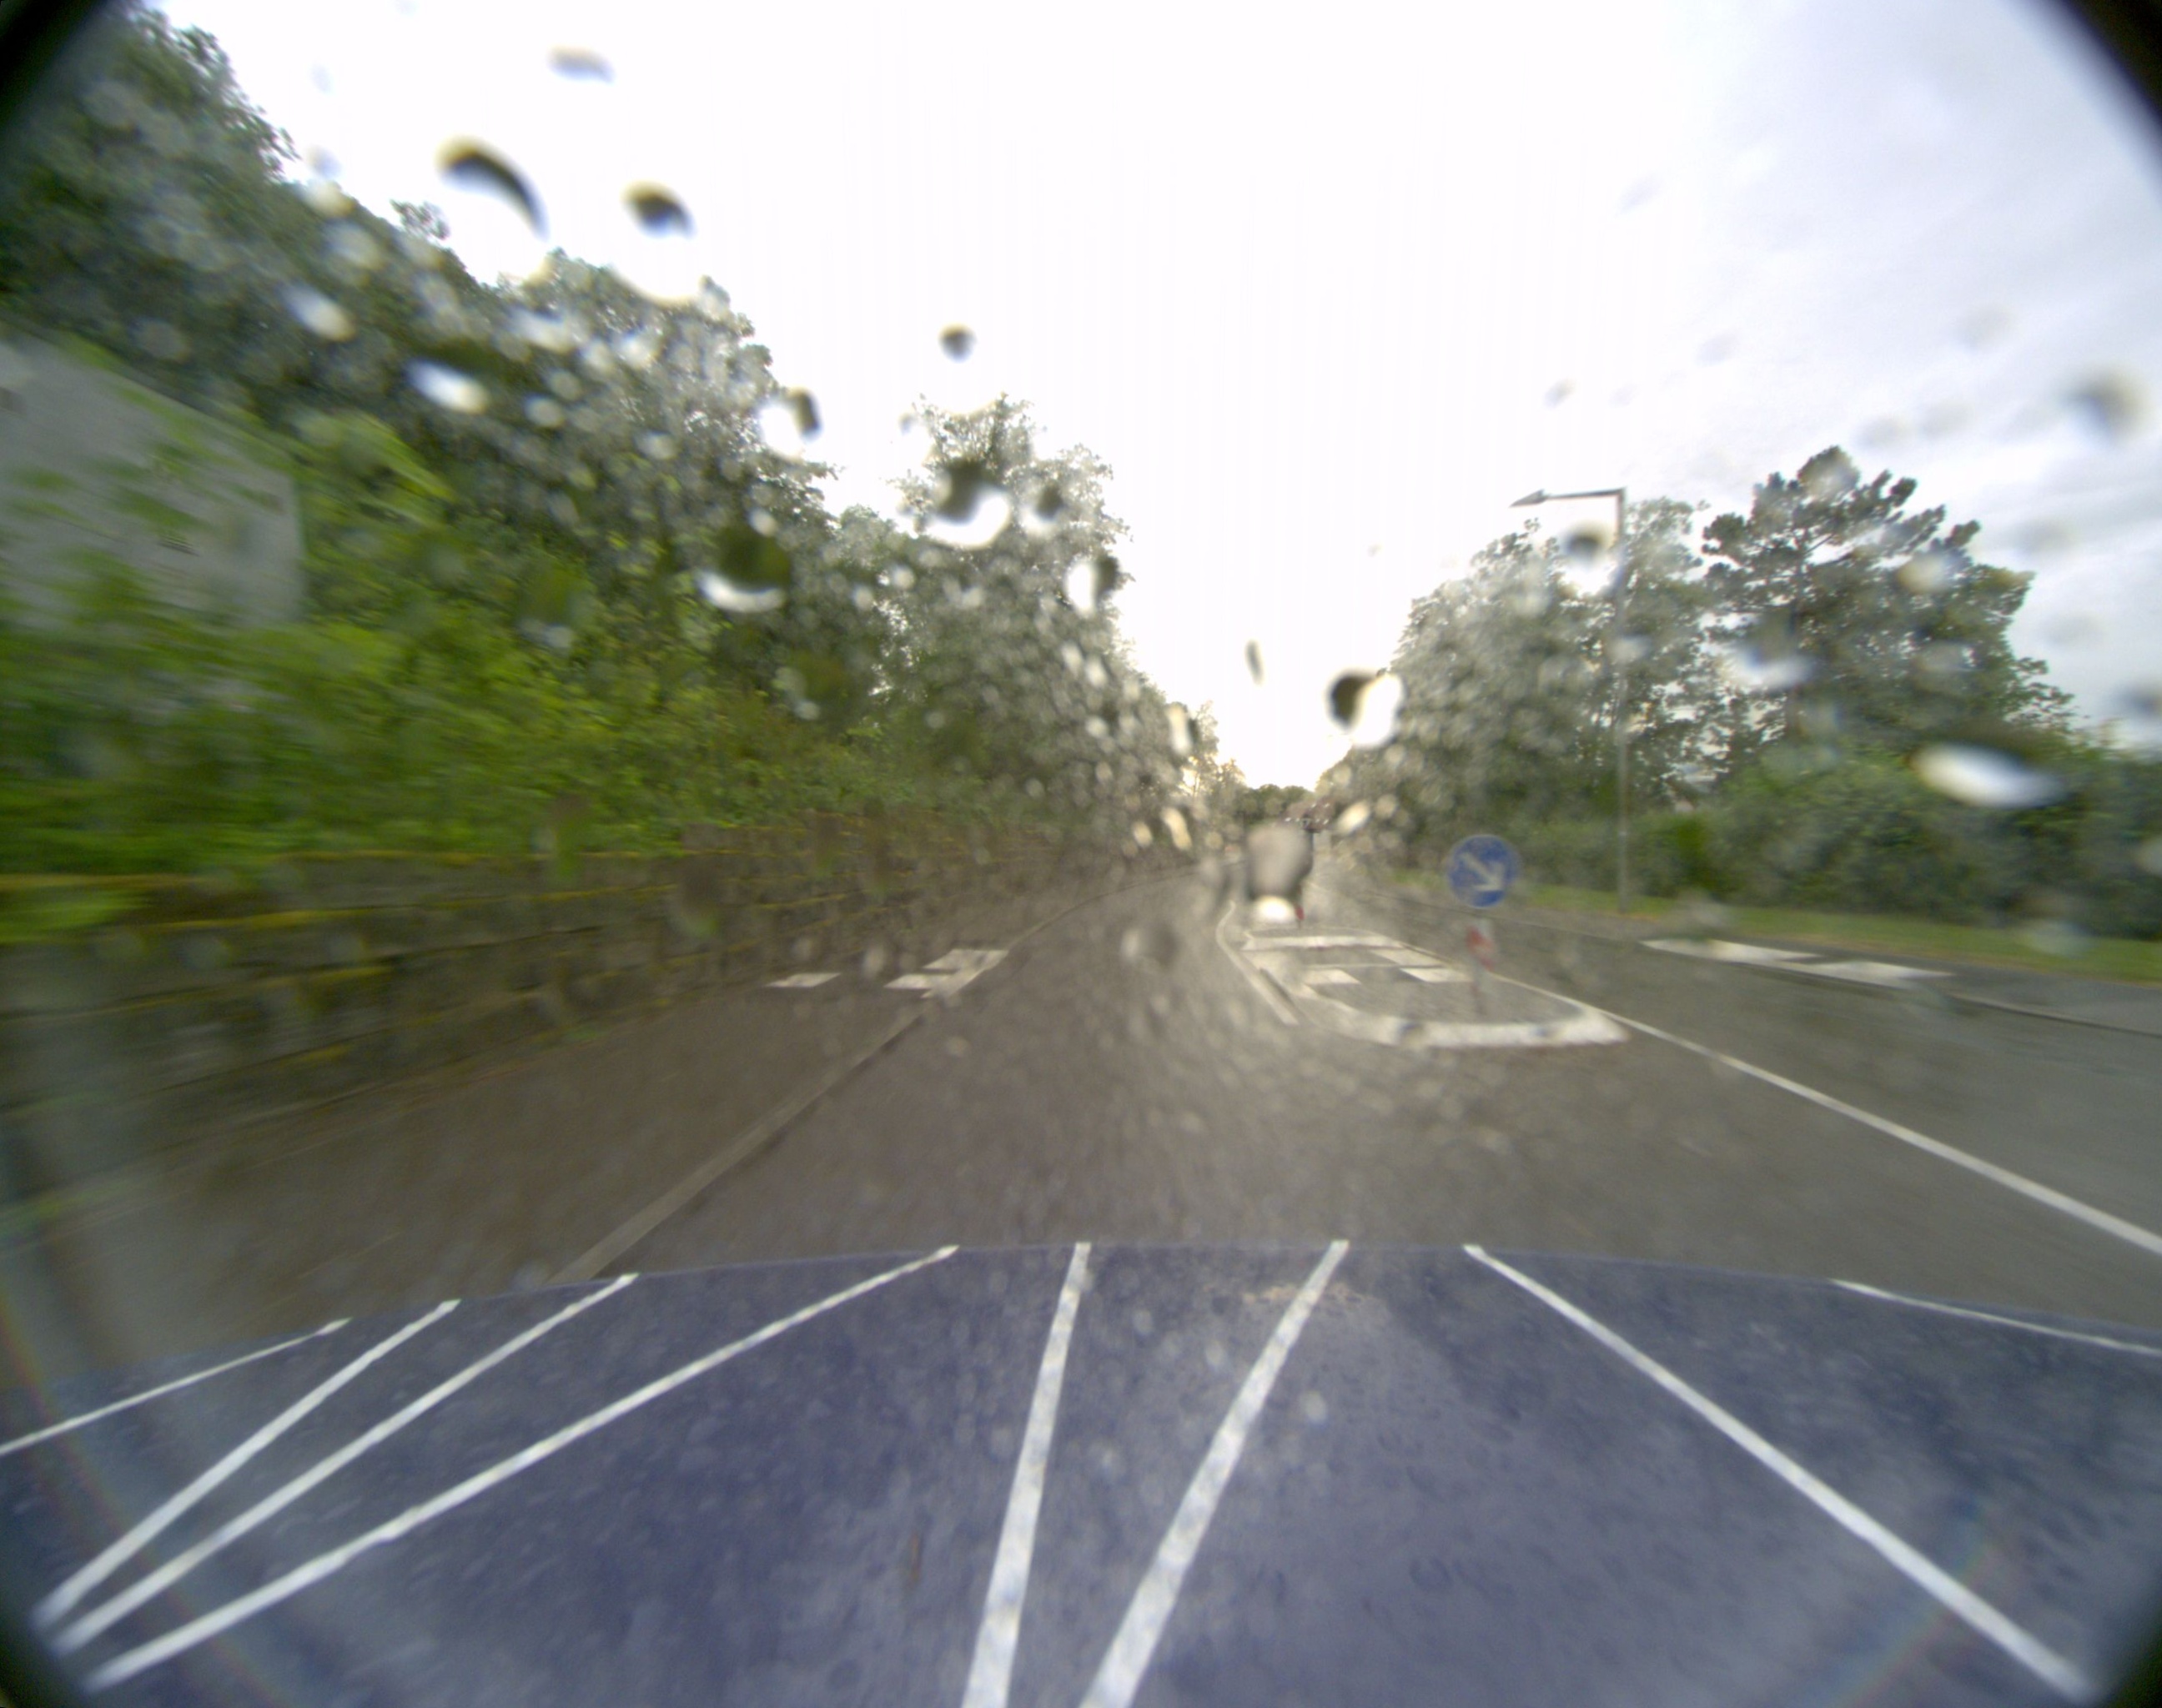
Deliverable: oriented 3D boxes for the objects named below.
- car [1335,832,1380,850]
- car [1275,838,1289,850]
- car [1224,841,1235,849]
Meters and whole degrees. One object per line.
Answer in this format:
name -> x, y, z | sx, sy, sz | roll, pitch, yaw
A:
car -> 30.457, -1.442, 83.917 | 4.509, 1.849, 2.091 | -1, 1, 16
car -> 28.956, -1.468, 109.579 | 1.921, 1.638, 4.550 | -1, 1, 15
car -> 30.516, -1.821, 156.269 | 1.838, 1.503, 4.169 | -2, 1, 4
